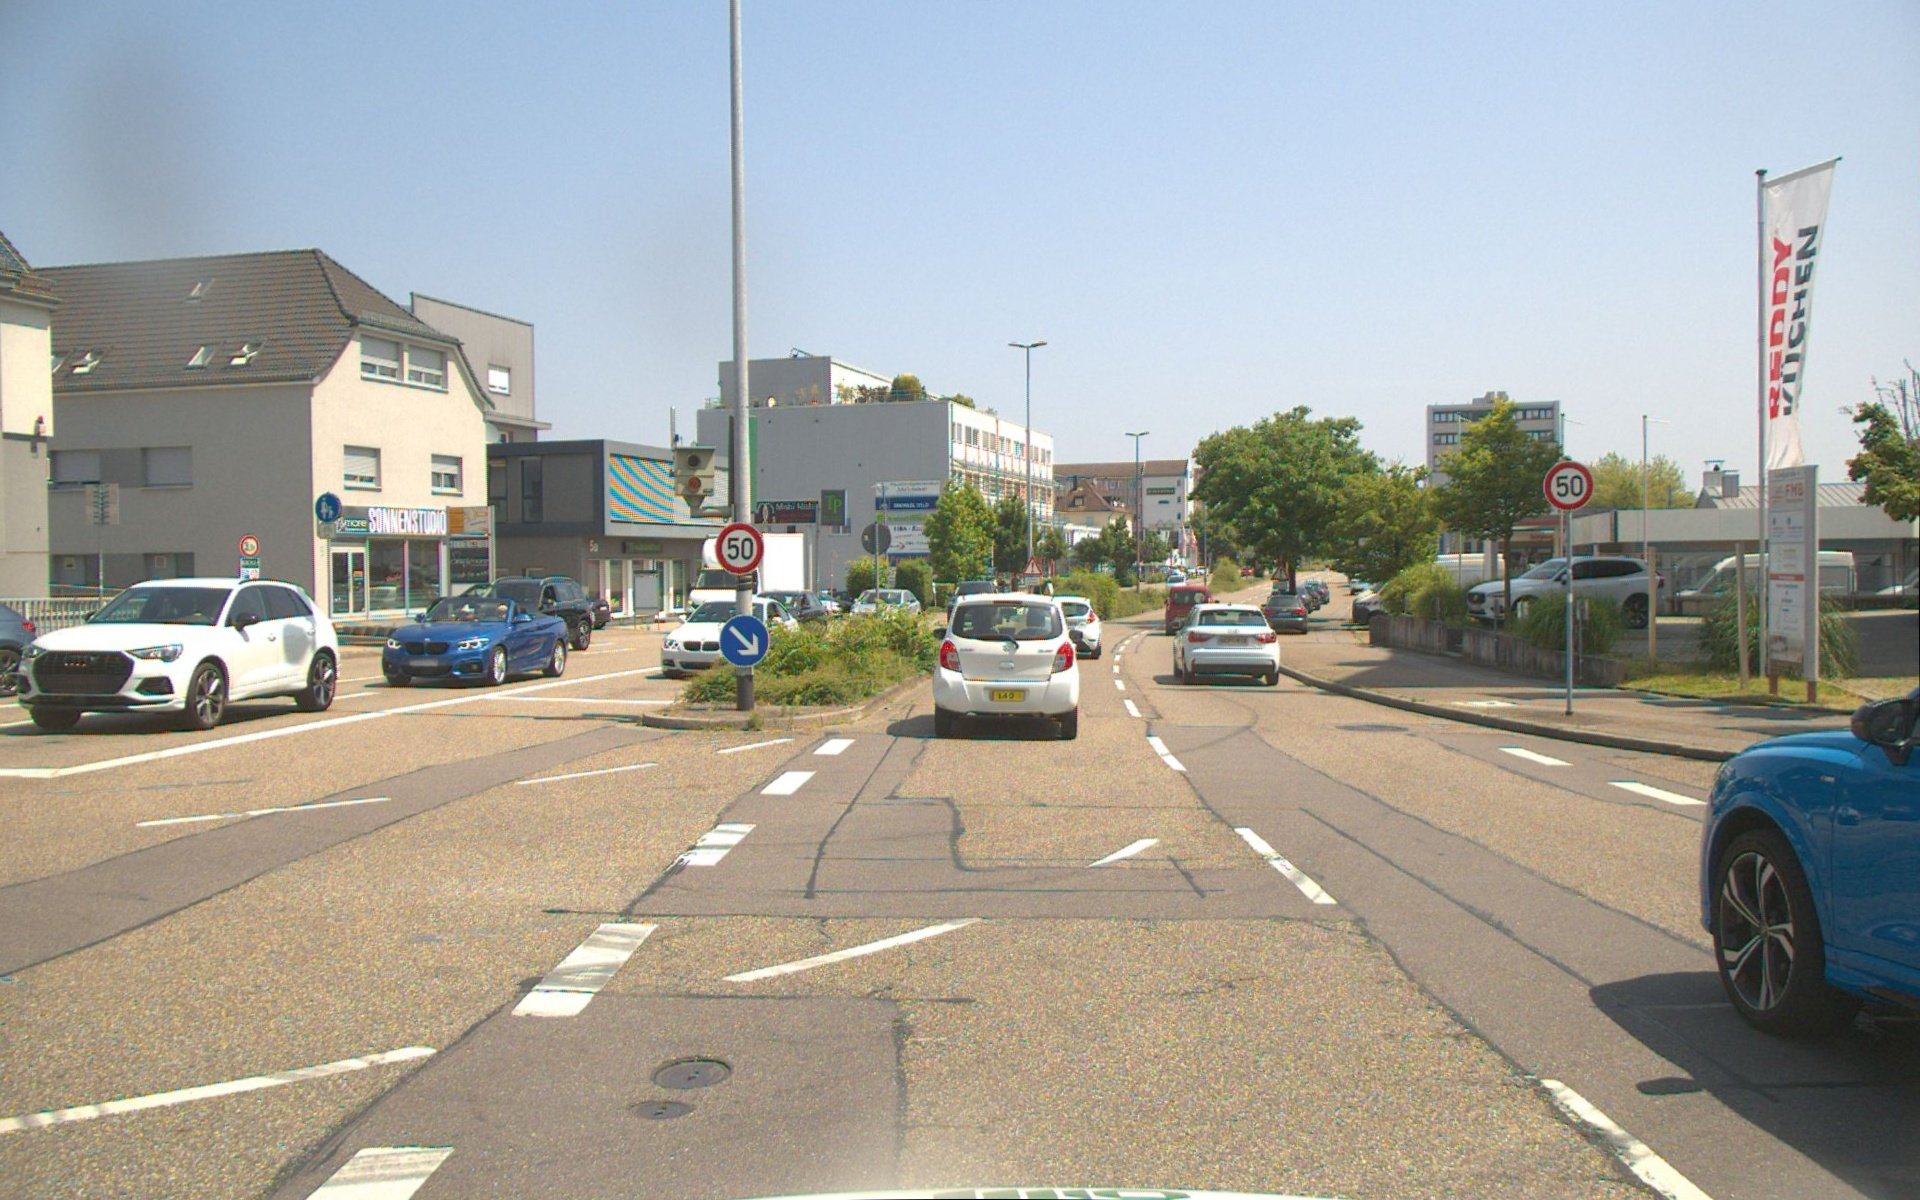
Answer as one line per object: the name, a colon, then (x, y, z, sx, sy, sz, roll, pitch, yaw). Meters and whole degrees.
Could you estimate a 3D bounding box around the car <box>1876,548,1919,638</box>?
car: (32.778, -0.191, 52.700, 5.987, 2.859, 2.001, 1, -1, 16)

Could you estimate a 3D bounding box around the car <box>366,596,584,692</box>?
car: (-7.707, 0.639, 26.731, 1.823, 1.390, 4.350, 1, 0, 6)

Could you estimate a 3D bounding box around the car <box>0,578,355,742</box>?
car: (-8.691, 0.579, 18.634, 1.778, 1.597, 4.558, 1, 0, 4)

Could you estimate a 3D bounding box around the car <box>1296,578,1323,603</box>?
car: (23.079, -0.641, 109.098, 1.677, 1.575, 4.795, -1, 1, 12)

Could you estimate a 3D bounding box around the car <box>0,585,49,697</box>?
car: (-14.012, 0.590, 21.019, 1.460, 1.474, 4.271, 0, 2, 23)

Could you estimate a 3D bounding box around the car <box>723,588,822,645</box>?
car: (-5.051, 0.412, 45.151, 1.763, 1.464, 4.579, 0, 0, 5)

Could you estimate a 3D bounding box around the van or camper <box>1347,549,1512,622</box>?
van or camper: (20.025, -0.631, 70.829, 6.651, 2.948, 2.277, -1, 1, 14)

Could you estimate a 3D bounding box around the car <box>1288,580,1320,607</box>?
car: (20.359, -0.400, 97.977, 1.815, 1.507, 5.161, -1, 1, 11)

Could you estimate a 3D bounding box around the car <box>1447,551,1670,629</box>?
car: (14.169, -0.220, 39.273, 4.640, 1.743, 1.995, 1, 0, -11)

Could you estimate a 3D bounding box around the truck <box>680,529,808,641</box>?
truck: (-7.067, -0.441, 55.117, 2.216, 3.477, 7.044, 1, 0, 10)

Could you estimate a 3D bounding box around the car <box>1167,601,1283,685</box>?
car: (4.798, 0.740, 30.371, 1.632, 1.423, 3.794, 0, 0, 2)

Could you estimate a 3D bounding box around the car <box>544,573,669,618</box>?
car: (-12.889, -0.151, 60.402, 3.969, 1.548, 2.002, -1, 0, 11)

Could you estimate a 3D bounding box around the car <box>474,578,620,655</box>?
car: (-9.647, 0.335, 39.001, 1.951, 1.685, 4.596, -1, 1, 5)

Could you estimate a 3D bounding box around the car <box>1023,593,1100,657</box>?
car: (2.505, 0.575, 40.933, 1.791, 1.475, 4.002, 1, 0, 3)

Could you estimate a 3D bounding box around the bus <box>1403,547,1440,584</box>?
bus: (42.208, -3.220, 151.000, 2.746, 3.132, 12.293, 0, 2, 18)

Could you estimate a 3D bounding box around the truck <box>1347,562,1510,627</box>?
truck: (18.774, -0.227, 66.457, 6.113, 2.377, 2.370, -2, 1, 16)

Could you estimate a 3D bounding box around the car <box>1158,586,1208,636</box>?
car: (8.240, 0.387, 61.109, 1.756, 1.759, 3.976, 1, 0, 8)

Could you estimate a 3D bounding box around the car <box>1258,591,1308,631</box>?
car: (12.453, 0.397, 63.583, 1.759, 1.430, 4.324, 1, 1, 13)

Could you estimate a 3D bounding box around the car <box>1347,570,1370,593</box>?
car: (30.510, -1.463, 126.669, 1.631, 1.623, 4.617, -2, 1, 14)

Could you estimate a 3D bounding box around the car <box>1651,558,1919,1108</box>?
car: (3.782, 0.690, 4.508, 1.874, 1.625, 4.394, 0, 0, -2)

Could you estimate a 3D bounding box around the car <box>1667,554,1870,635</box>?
car: (26.694, -0.195, 54.863, 5.762, 2.573, 2.121, 1, -1, 17)

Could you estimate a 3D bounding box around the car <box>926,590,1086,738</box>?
car: (0.559, 0.689, 19.068, 1.676, 1.537, 3.248, 1, 0, 2)

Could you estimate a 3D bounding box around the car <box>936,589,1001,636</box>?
car: (0.373, 0.499, 66.416, 1.868, 1.781, 4.764, 1, 0, 9)

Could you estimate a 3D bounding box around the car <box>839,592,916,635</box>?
car: (-2.780, 0.447, 56.507, 1.857, 1.384, 4.201, 0, 0, 8)

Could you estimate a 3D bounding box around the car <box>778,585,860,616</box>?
car: (-7.397, 0.024, 86.907, 3.912, 1.395, 1.670, -2, 1, 17)

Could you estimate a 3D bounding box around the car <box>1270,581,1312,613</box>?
car: (18.509, -0.189, 92.348, 1.919, 1.556, 5.165, -3, 1, 14)

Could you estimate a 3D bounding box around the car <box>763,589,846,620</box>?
car: (-7.912, 0.228, 84.195, 3.902, 1.484, 1.577, -1, -1, 10)

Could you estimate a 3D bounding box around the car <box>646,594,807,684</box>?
car: (-4.091, 0.635, 29.773, 1.823, 1.456, 4.747, 0, 0, 5)
